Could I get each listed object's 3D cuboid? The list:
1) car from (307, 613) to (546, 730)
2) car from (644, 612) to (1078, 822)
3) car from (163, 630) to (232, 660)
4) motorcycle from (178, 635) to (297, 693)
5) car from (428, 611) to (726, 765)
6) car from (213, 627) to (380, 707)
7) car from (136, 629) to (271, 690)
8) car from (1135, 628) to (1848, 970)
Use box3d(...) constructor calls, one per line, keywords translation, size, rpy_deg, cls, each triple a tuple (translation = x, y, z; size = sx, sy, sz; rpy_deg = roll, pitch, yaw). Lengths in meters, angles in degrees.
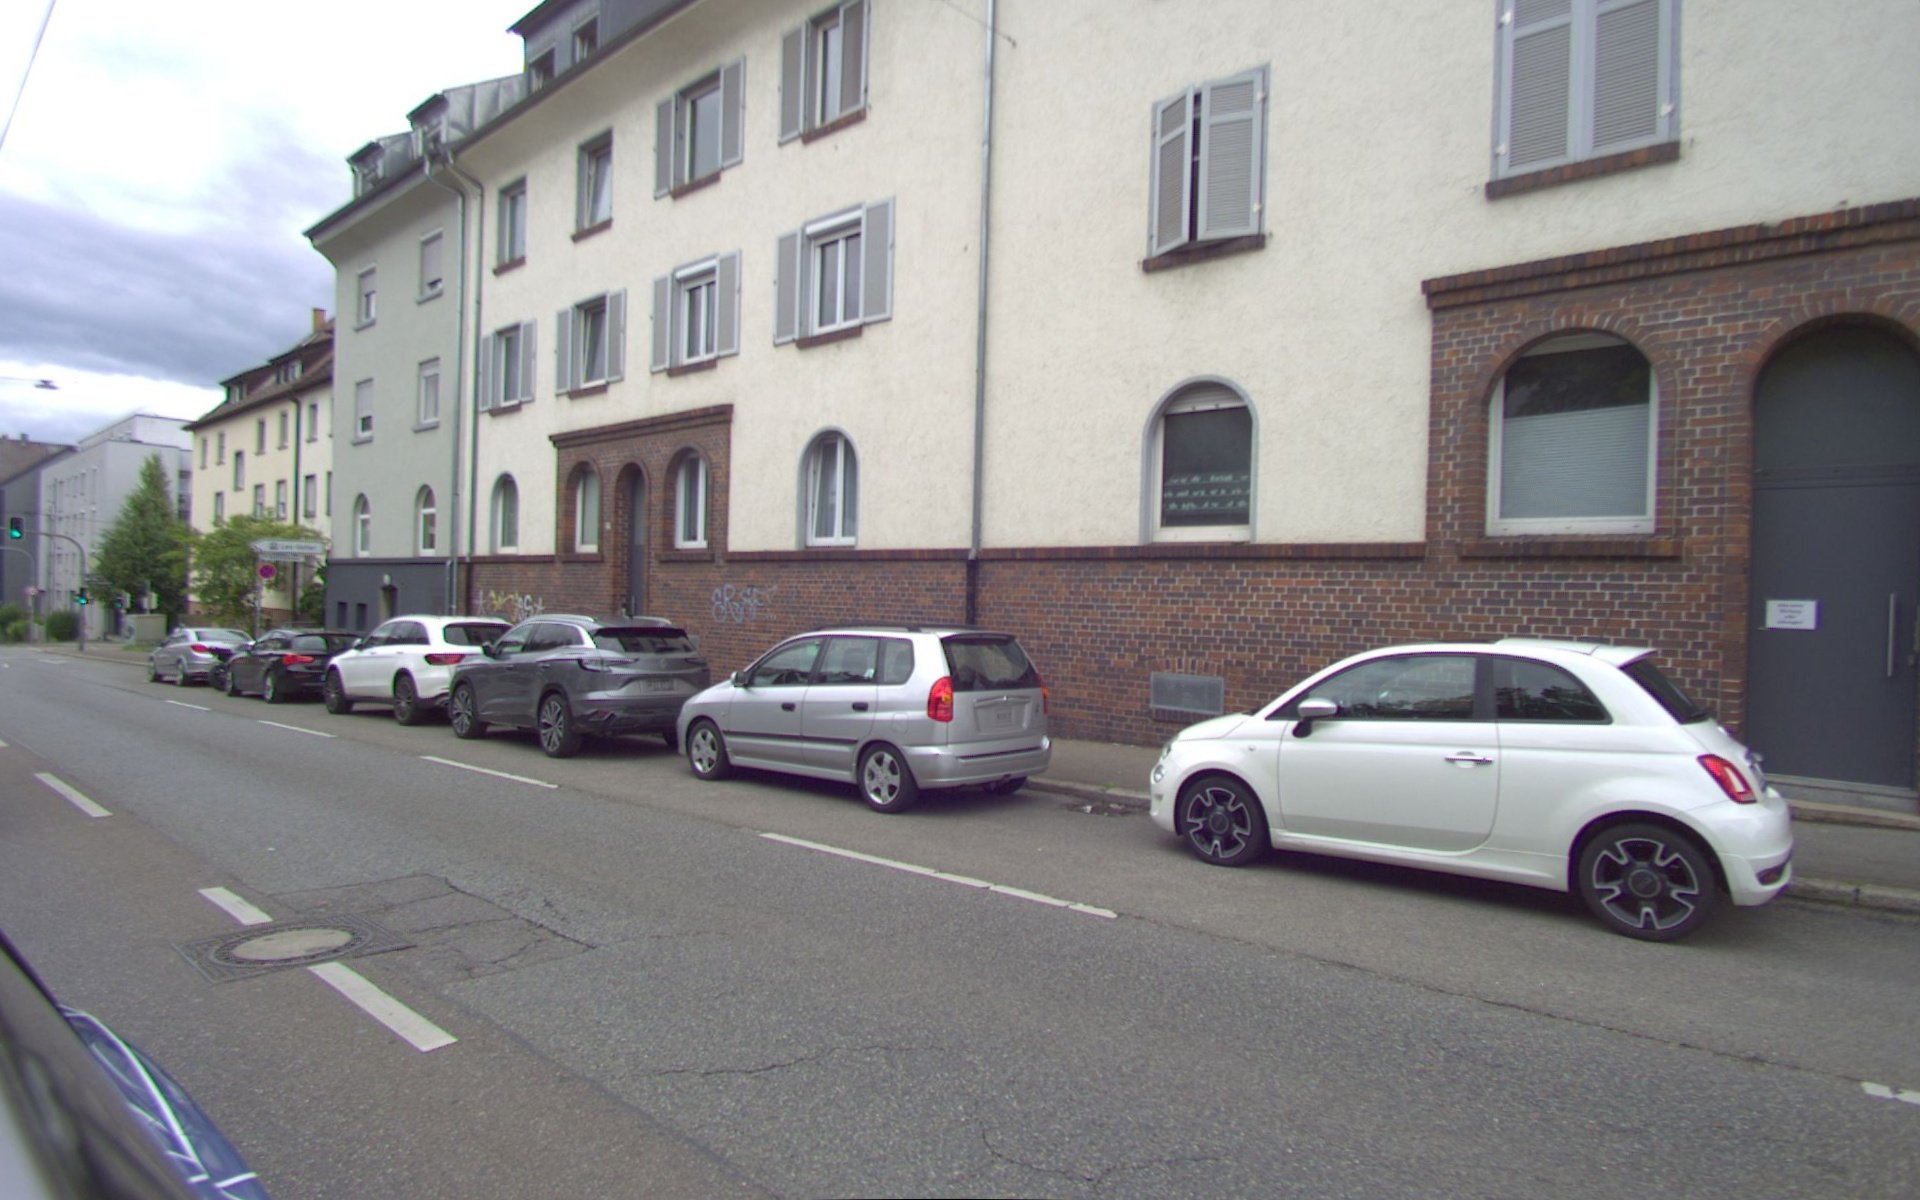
box3d(translation=(-8.750, 1.073, 16.430), size=(4.640, 1.634, 1.826), rpy_deg=(-1, -3, 40), cls="car")
box3d(translation=(-1.069, 0.949, 9.571), size=(4.079, 1.570, 1.709), rpy_deg=(-1, -4, 41), cls="car")
box3d(translation=(-41.213, 2.459, 54.664), size=(4.252, 1.549, 1.797), rpy_deg=(-3, -5, 37), cls="car")
box3d(translation=(-16.360, 1.445, 22.979), size=(0.802, 1.245, 2.030), rpy_deg=(-1, -4, 23), cls="motorcycle")
box3d(translation=(-4.959, 0.985, 12.753), size=(4.502, 1.611, 1.708), rpy_deg=(-2, -3, 43), cls="car")
box3d(translation=(-13.364, 1.276, 20.304), size=(4.189, 1.440, 1.709), rpy_deg=(-1, -3, 41), cls="car")
box3d(translation=(-18.861, 1.418, 25.171), size=(4.333, 1.384, 1.709), rpy_deg=(-1, -3, 40), cls="car")
box3d(translation=(3.031, 0.927, 6.226), size=(3.602, 1.486, 1.531), rpy_deg=(-1, -2, 41), cls="car")
